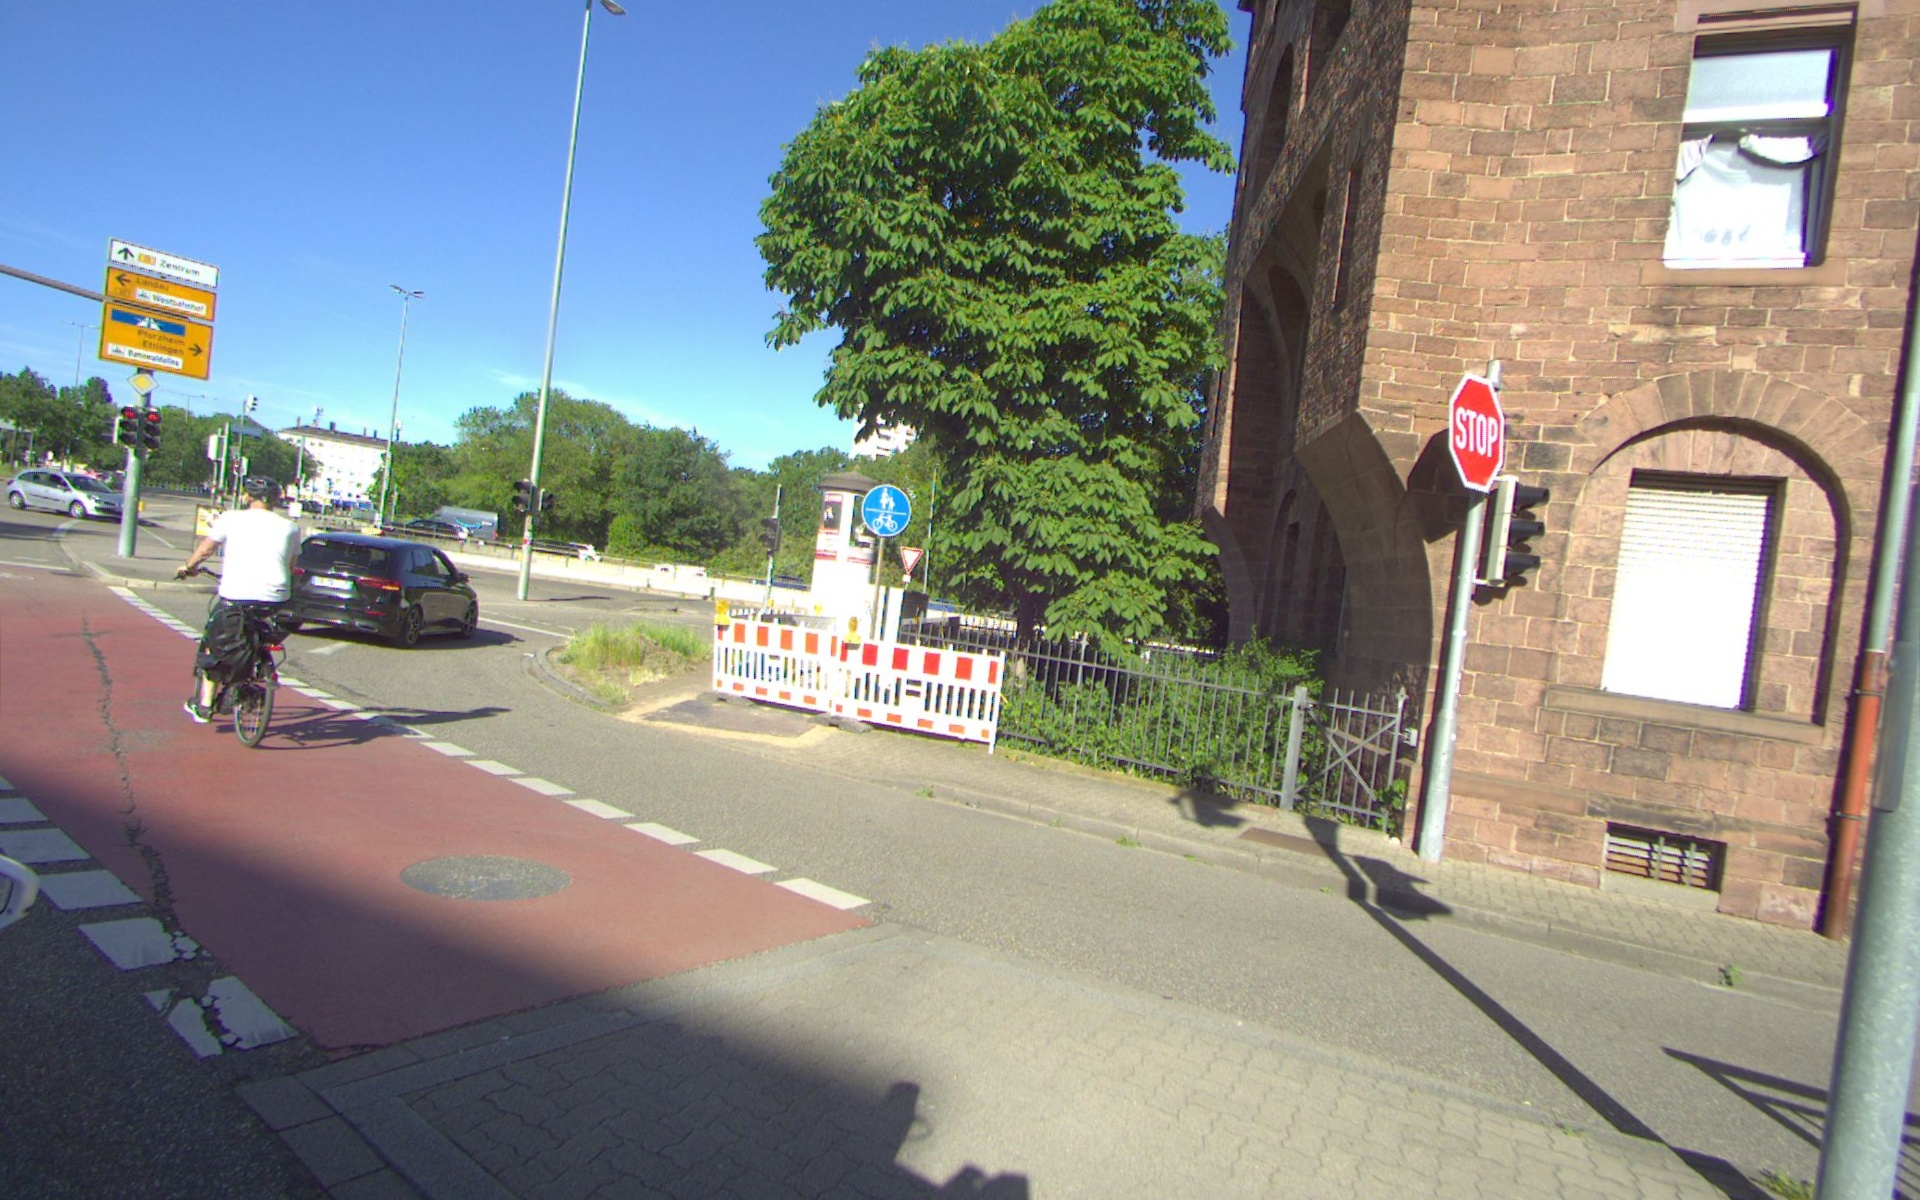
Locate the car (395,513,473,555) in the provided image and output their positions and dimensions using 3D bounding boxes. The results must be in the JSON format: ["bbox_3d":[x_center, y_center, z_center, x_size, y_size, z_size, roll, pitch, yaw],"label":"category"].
[{"bbox_3d":[-33.862,-4.229,64.849,3.940,2.037,1.994,7,-1,-17],"label":"car"}]

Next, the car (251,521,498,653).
[{"bbox_3d":[-8.746,-0.148,15.473,1.727,1.511,3.996,9,-1,-8],"label":"car"}]

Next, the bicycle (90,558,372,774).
[{"bbox_3d":[-5.105,0.402,6.974,2.365,1.124,0.800,7,-1,36],"label":"bicycle"}]

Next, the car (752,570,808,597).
[{"bbox_3d":[-14.082,-1.269,78.805,3.941,1.681,1.993,7,-2,-18],"label":"car"}]

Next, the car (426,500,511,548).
[{"bbox_3d":[-35.393,-5.459,72.586,4.802,2.638,2.259,7,-1,-9],"label":"car"}]

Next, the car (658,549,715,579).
[{"bbox_3d":[-20.704,-2.691,76.132,3.940,1.704,1.851,7,-2,-17],"label":"car"}]

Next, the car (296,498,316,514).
[{"bbox_3d":[-90.482,-13.008,139.224,1.978,1.816,3.968,6,1,-29],"label":"car"}]

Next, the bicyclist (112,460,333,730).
[{"bbox_3d":[-5.175,-0.035,7.065,1.068,1.725,0.800,7,-1,36],"label":"bicyclist"}]

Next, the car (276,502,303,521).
[{"bbox_3d":[-81.558,-10.737,122.360,1.975,1.815,3.977,7,-2,-25],"label":"car"}]

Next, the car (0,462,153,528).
[{"bbox_3d":[-30.371,-3.578,34.518,4.025,1.603,1.826,7,1,9],"label":"car"}]

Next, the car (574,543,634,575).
[{"bbox_3d":[-26.330,-3.035,74.442,3.940,1.770,1.994,7,-2,-17],"label":"car"}]

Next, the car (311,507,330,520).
[{"bbox_3d":[-100.006,-13.571,157.299,1.976,1.661,3.973,6,1,-26],"label":"car"}]

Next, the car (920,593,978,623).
[{"bbox_3d":[-0.934,0.640,83.349,4.197,1.878,2.011,7,1,-18],"label":"car"}]
